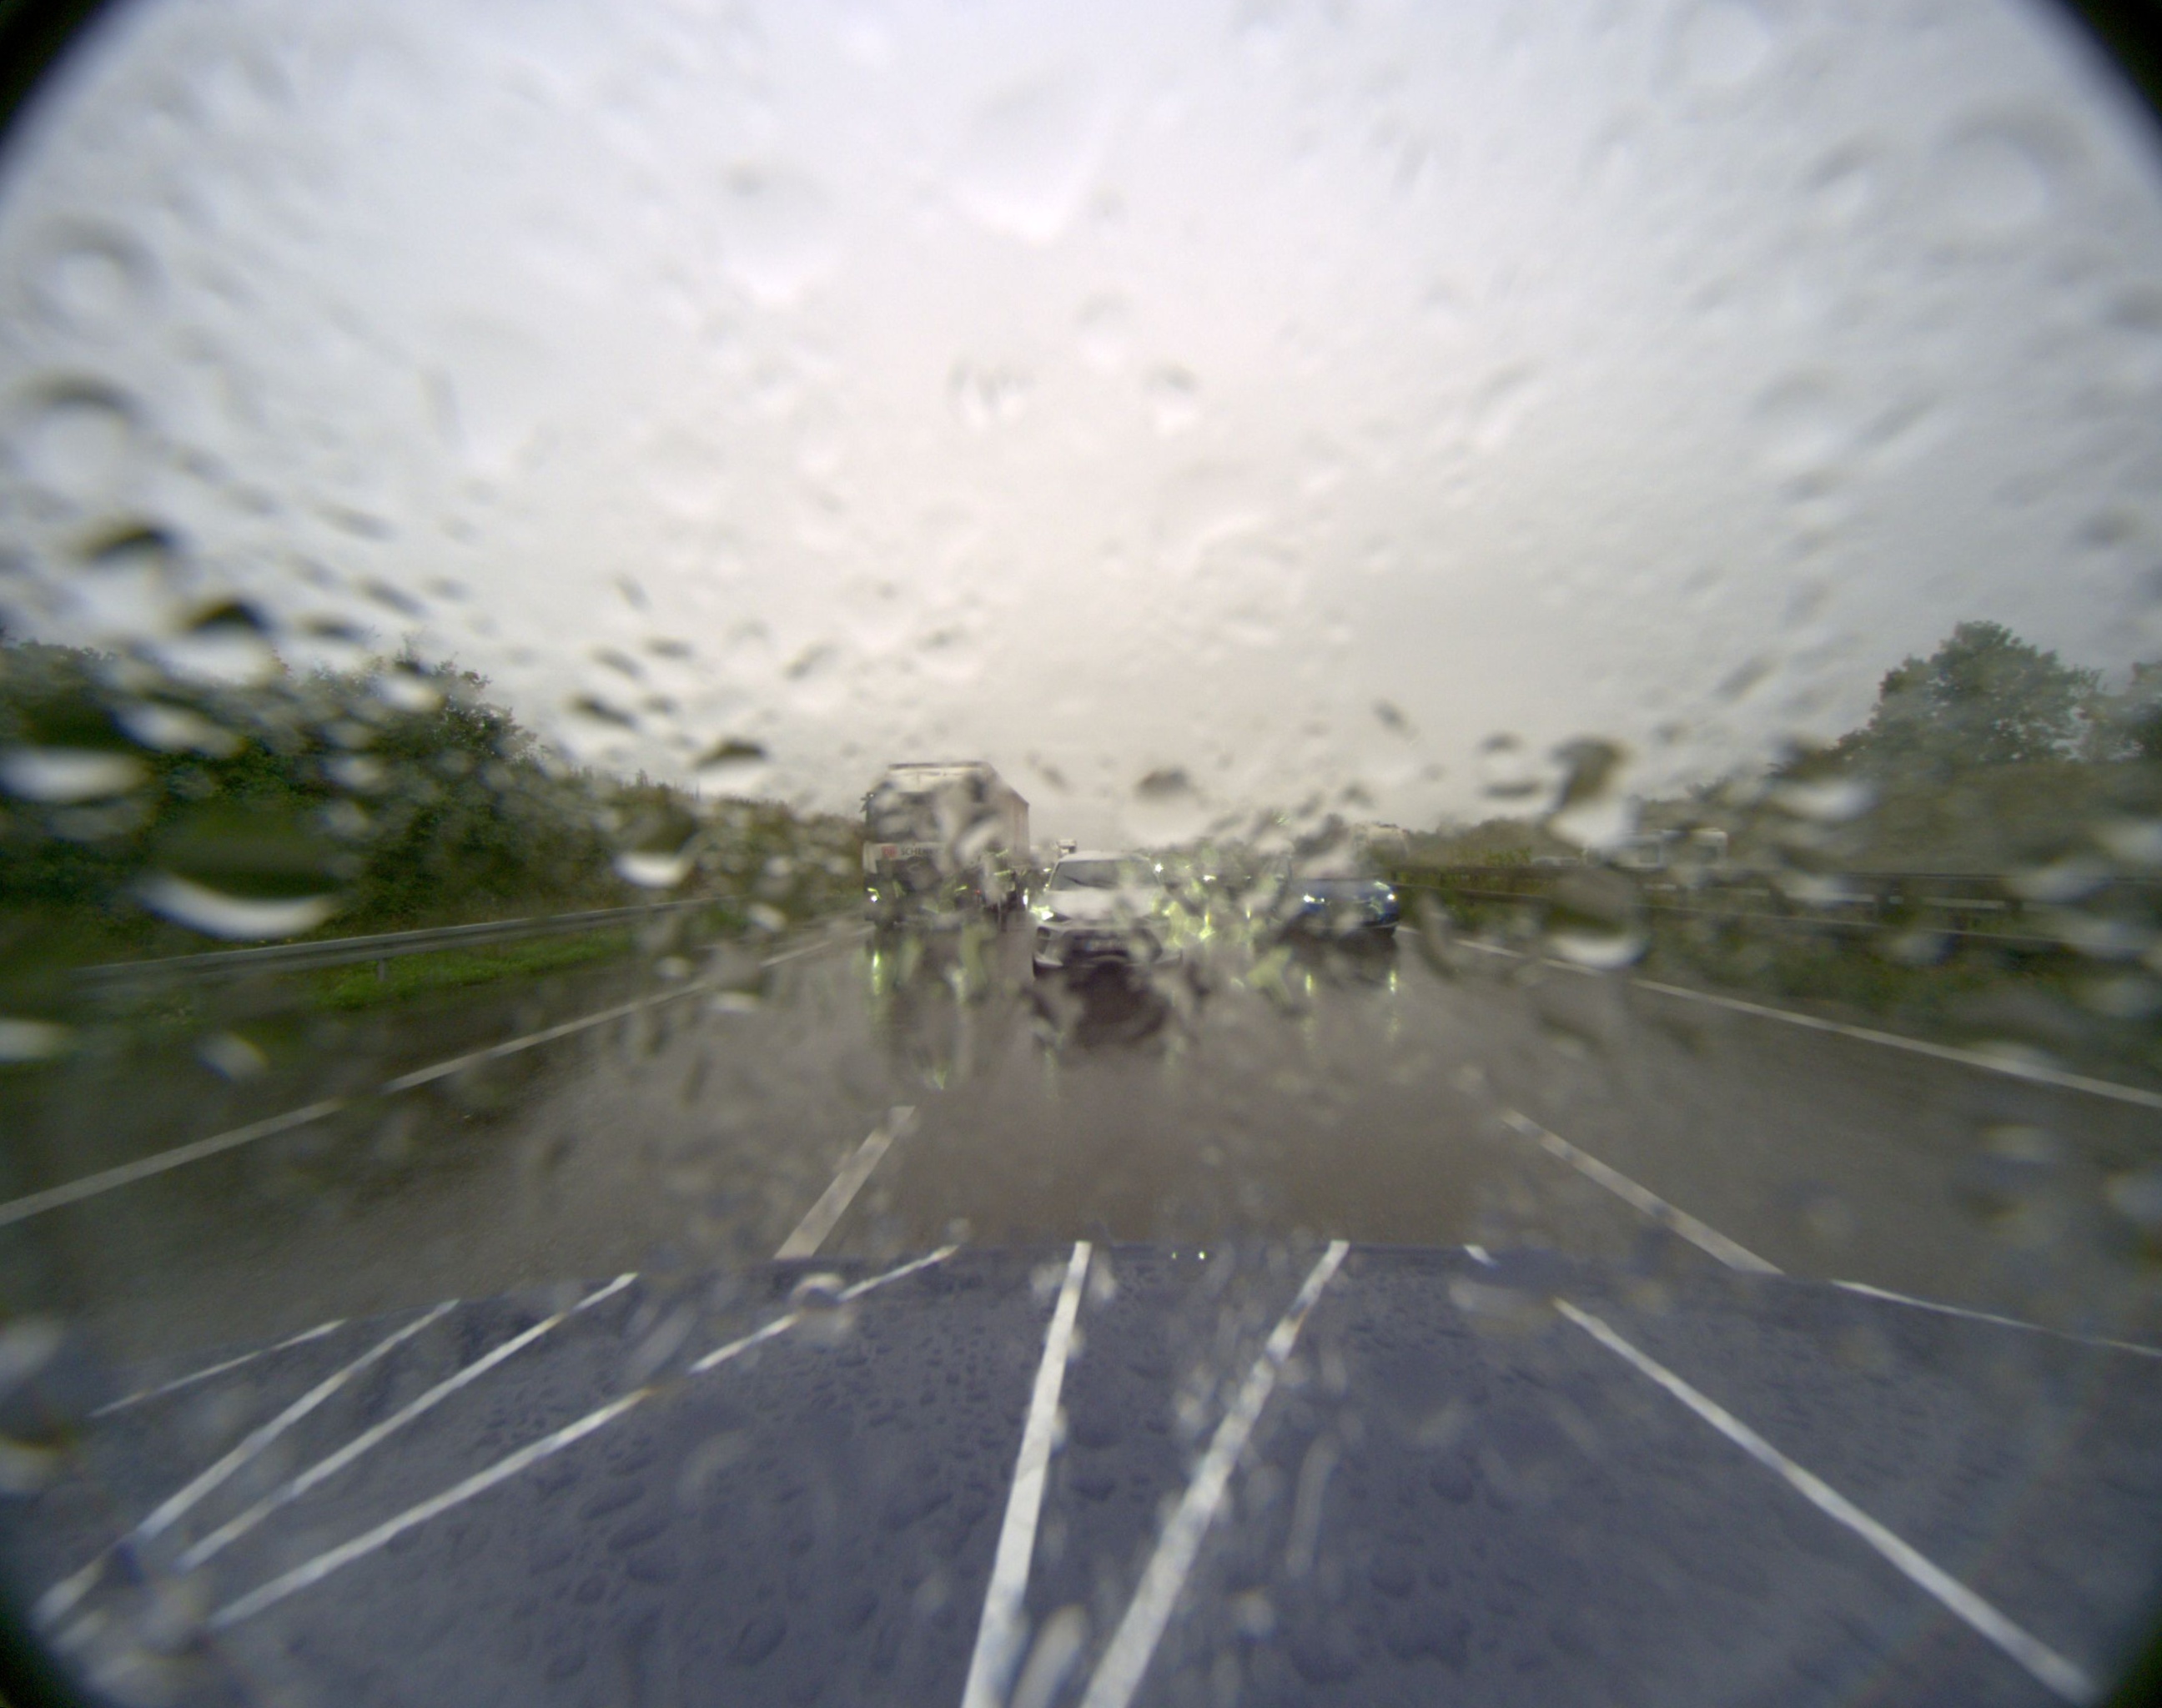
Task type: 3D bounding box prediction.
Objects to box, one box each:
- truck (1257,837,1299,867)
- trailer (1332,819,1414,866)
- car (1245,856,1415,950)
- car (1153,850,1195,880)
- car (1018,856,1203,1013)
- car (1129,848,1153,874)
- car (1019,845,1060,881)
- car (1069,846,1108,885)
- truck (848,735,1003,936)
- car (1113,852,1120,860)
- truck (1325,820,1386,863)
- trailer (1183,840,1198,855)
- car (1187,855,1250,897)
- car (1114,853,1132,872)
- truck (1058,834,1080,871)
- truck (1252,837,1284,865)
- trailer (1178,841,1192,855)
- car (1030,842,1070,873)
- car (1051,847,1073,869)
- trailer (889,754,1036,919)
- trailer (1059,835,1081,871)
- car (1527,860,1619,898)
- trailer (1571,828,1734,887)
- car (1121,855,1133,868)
[{"bbox_3d":[22.849,-0.340,88.711,2.561,3.279,9.346,0,2,1],"label":"truck"},{"bbox_3d":[18.018,-0.750,47.375,2.487,2.704,7.322,0,2,2],"label":"trailer"},{"bbox_3d":[4.496,0.796,14.487,1.790,1.467,4.512,-1,0,1],"label":"car"},{"bbox_3d":[5.316,0.605,43.860,1.889,1.622,4.269,-1,0,0],"label":"car"},{"bbox_3d":[0.334,0.854,9.933,1.893,1.578,4.000,-2,0,1],"label":"car"},{"bbox_3d":[4.854,0.577,61.906,1.888,2.002,4.270,-1,0,4],"label":"car"},{"bbox_3d":[-2.458,0.488,46.239,1.946,2.002,4.447,-2,1,3],"label":"car"},{"bbox_3d":[0.450,0.617,41.878,1.998,2.002,4.000,-1,0,2],"label":"car"},{"bbox_3d":[-3.593,-0.421,18.835,2.633,4.229,5.042,-2,1,0],"label":"truck"},{"bbox_3d":[7.104,0.398,151.283,1.279,1.567,2.848,-1,0,0],"label":"car"},{"bbox_3d":[18.106,-0.829,50.359,2.487,2.704,4.527,0,2,2],"label":"truck"},{"bbox_3d":[23.855,-1.364,165.440,1.998,3.064,8.872,-2,0,1],"label":"trailer"},{"bbox_3d":[5.094,0.770,28.575,1.613,1.428,4.370,-1,0,1],"label":"car"},{"bbox_3d":[4.592,0.946,82.890,1.737,2.002,4.223,-1,0,1],"label":"car"},{"bbox_3d":[-1.518,-0.120,98.811,2.628,4.635,4.290,-1,0,1],"label":"truck"},{"bbox_3d":[22.877,-0.370,93.253,2.547,3.261,5.197,1,1,0],"label":"truck"},{"bbox_3d":[23.954,-1.395,174.642,1.998,3.064,9.555,-2,0,1],"label":"trailer"},{"bbox_3d":[-2.087,0.199,52.705,2.260,2.002,4.270,-2,1,4],"label":"car"},{"bbox_3d":[-1.943,0.410,77.879,1.998,2.231,4.000,-1,0,1],"label":"car"},{"bbox_3d":[-3.515,-0.507,26.943,2.633,4.224,14.175,-2,0,1],"label":"trailer"},{"bbox_3d":[-1.407,-0.074,104.059,2.628,4.635,9.222,-1,0,1],"label":"trailer"},{"bbox_3d":[21.400,1.038,33.198,1.679,1.528,3.661,-1,0,1],"label":"car"},{"bbox_3d":[21.208,0.057,28.579,2.097,2.002,5.348,0,2,0],"label":"trailer"},{"bbox_3d":[5.855,0.972,97.439,1.458,1.540,2.804,0,2,1],"label":"car"}]
